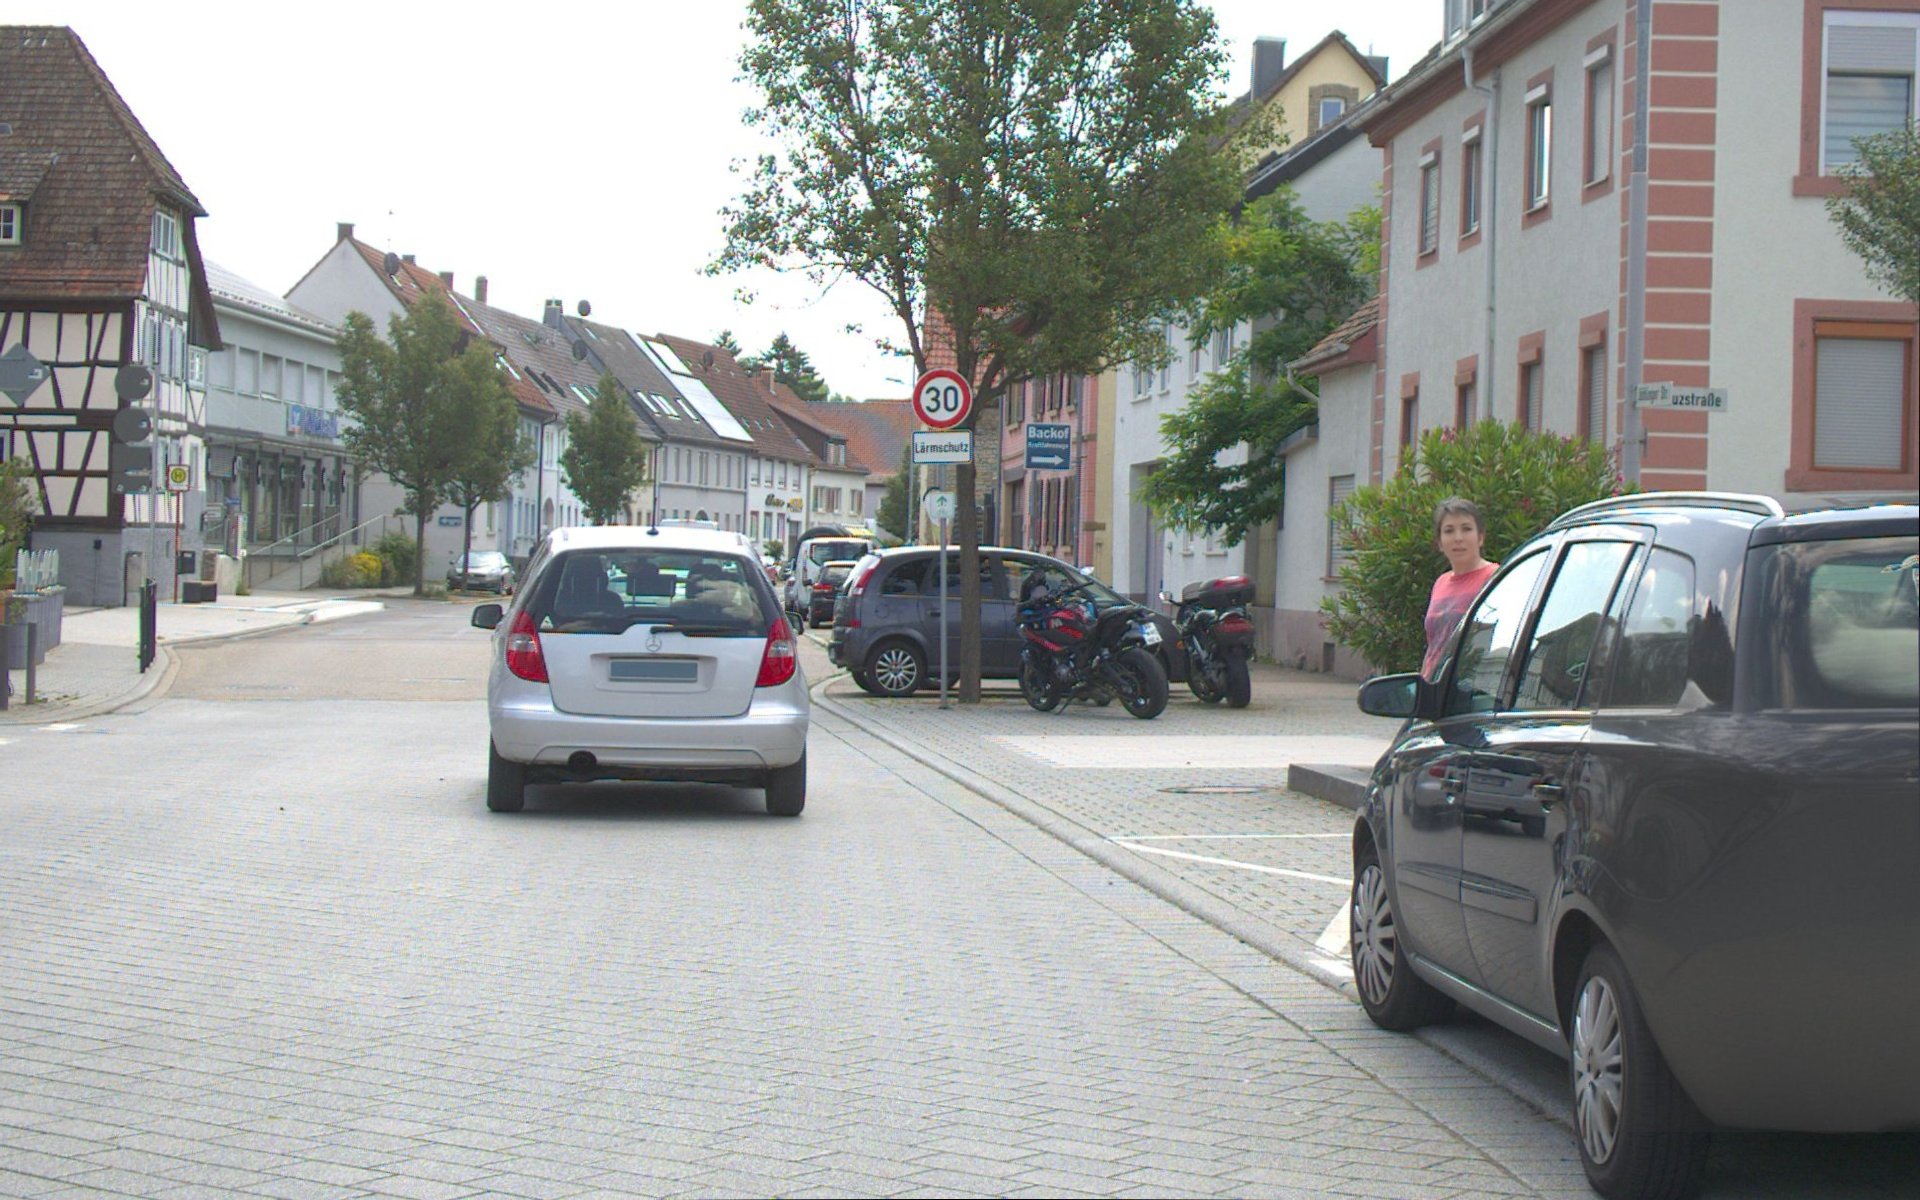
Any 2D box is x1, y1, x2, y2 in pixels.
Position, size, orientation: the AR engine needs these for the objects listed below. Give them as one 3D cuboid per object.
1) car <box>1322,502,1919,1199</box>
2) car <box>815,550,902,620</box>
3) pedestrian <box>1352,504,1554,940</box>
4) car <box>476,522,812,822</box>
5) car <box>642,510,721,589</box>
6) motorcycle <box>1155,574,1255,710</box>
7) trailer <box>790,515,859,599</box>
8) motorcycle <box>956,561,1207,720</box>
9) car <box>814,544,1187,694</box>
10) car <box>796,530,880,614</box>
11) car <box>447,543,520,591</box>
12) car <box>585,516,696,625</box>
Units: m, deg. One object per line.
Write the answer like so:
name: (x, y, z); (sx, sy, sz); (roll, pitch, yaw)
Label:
car: (2.146, 0.558, 9.059); (1.769, 1.559, 4.419); (0, 1, -2)
car: (-2.295, -0.360, 76.720); (1.774, 1.490, 4.162); (1, 1, -4)
pedestrian: (1.887, 0.455, 13.223); (0.639, 1.623, 0.620); (1, 1, -1)
car: (-1.924, 0.350, 20.265); (1.768, 1.589, 4.001); (0, 1, -7)
car: (-8.151, -1.460, 100.950); (2.235, 2.215, 4.000); (1, 0, -4)
motorcycle: (2.437, 0.397, 34.273); (0.959, 1.294, 2.225); (0, 1, 4)
trailer: (-3.949, -1.252, 99.638); (1.844, 2.346, 3.590); (1, 1, -4)
motorcycle: (1.110, 0.359, 31.846); (2.223, 1.390, 0.870); (2, 1, 39)
car: (0.407, 0.181, 37.517); (3.847, 1.572, 1.851); (0, 1, -7)
car: (-3.036, -0.711, 84.852); (1.892, 1.975, 4.931); (-1, 1, -4)
car: (-15.432, -1.082, 111.512); (1.804, 1.455, 4.158); (2, 1, -1)
car: (-6.044, -0.558, 65.423); (1.769, 1.881, 4.447); (4, 0, -3)
